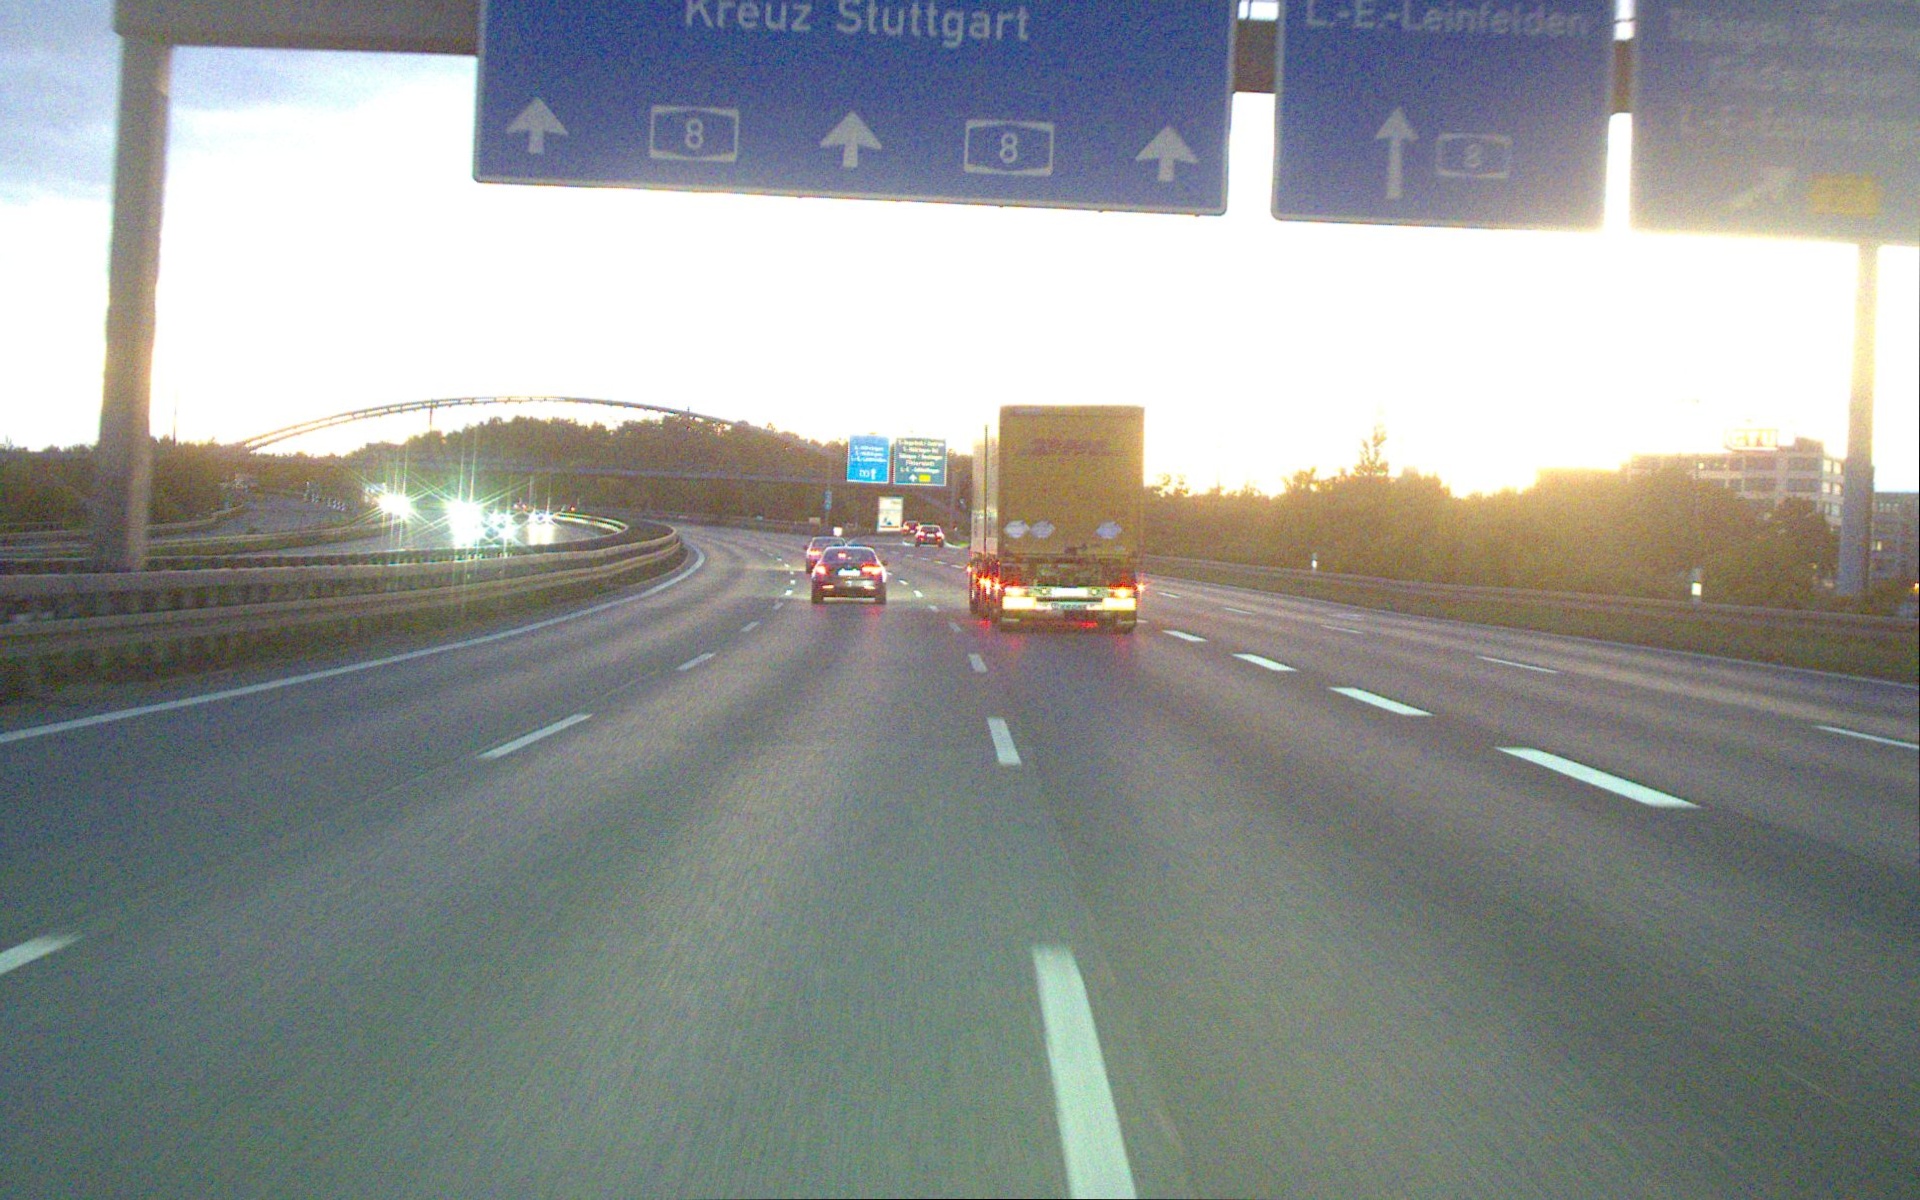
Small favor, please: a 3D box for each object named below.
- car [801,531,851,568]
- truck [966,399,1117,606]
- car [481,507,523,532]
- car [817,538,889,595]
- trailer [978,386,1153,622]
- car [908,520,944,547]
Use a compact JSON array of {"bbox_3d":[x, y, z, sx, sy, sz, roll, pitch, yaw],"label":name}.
[{"bbox_3d":[-5.271,-1.971,135.689,1.689,1.396,3.408,0,0,2],"label":"car"},{"bbox_3d":[1.636,-2.095,73.559,2.690,4.057,10.521,1,2,-1],"label":"truck"},{"bbox_3d":[-25.849,-4.546,194.034,1.993,1.353,4.866,1,2,-3],"label":"car"},{"bbox_3d":[-2.710,-0.835,86.632,1.689,1.396,3.409,1,0,-4],"label":"car"},{"bbox_3d":[1.853,-1.796,63.913,2.721,4.057,8.832,1,2,-1],"label":"trailer"},{"bbox_3d":[-2.322,-4.567,235.186,1.993,1.711,4.001,1,0,-7],"label":"car"}]
